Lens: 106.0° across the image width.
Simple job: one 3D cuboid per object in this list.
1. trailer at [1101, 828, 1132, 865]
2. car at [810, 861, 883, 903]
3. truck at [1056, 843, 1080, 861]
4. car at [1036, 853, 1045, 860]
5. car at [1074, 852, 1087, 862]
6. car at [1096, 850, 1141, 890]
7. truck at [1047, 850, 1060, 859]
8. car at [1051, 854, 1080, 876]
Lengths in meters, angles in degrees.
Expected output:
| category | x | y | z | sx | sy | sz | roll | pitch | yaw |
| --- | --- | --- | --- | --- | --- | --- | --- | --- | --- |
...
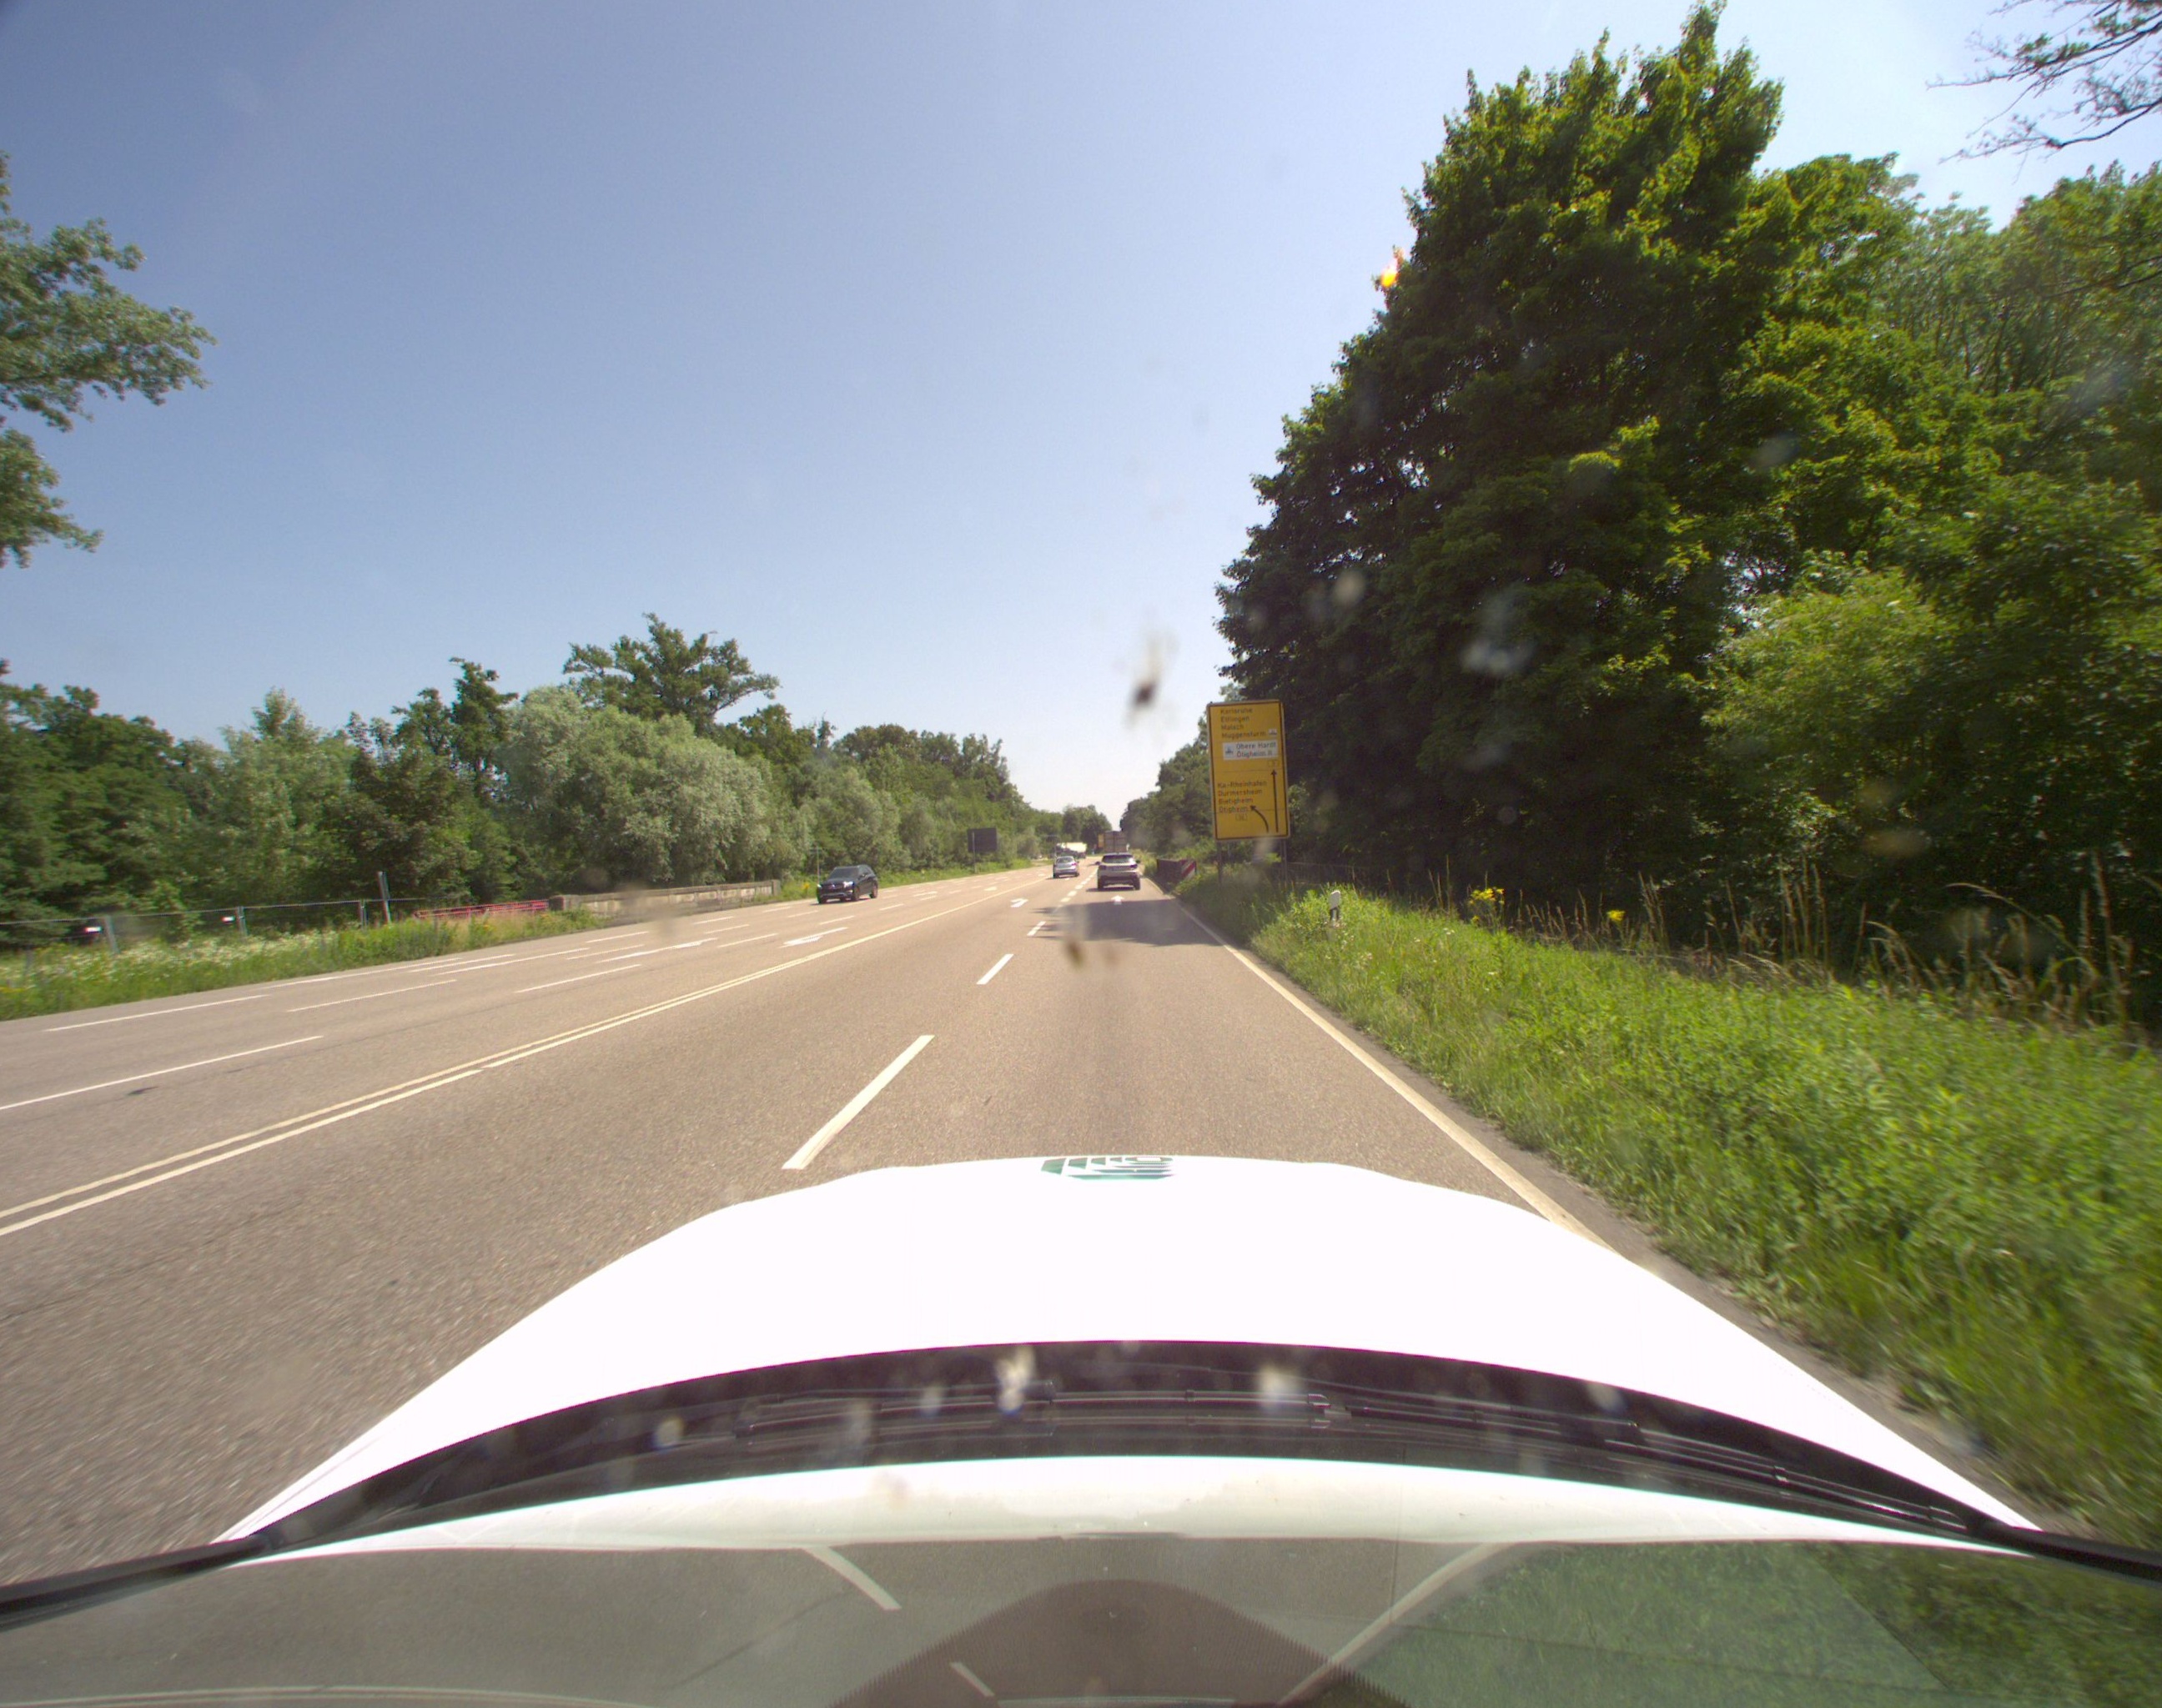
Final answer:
| category | x | y | z | sx | sy | sz | roll | pitch | yaw |
| --- | --- | --- | --- | --- | --- | --- | --- | --- | --- |
| trailer | 4.186 | -0.782 | 95.808 | 3.369 | 3.988 | 10.811 | -2 | 0 | 3 |
| car | -11.791 | 1.352 | 41.318 | 1.986 | 1.881 | 4.962 | -4 | 0 | 2 |
| truck | -3.156 | -0.457 | 192.332 | 3.650 | 4.105 | 9.465 | -2 | 0 | -13 |
| car | -10.926 | 0.686 | 219.555 | 1.995 | 1.585 | 3.984 | -2 | 0 | -11 |
| car | -0.106 | 0.640 | 176.357 | 1.993 | 2.013 | 4.540 | -3 | 0 | -8 |
| car | 1.620 | 0.651 | 34.551 | 1.760 | 1.535 | 4.004 | -2 | 0 | 3 |
| truck | -7.086 | 0.167 | 209.350 | 2.139 | 2.196 | 4.631 | -1 | 0 | -16 |
| car | -1.011 | 0.720 | 55.962 | 1.659 | 1.430 | 3.831 | -2 | 0 | 3 |
